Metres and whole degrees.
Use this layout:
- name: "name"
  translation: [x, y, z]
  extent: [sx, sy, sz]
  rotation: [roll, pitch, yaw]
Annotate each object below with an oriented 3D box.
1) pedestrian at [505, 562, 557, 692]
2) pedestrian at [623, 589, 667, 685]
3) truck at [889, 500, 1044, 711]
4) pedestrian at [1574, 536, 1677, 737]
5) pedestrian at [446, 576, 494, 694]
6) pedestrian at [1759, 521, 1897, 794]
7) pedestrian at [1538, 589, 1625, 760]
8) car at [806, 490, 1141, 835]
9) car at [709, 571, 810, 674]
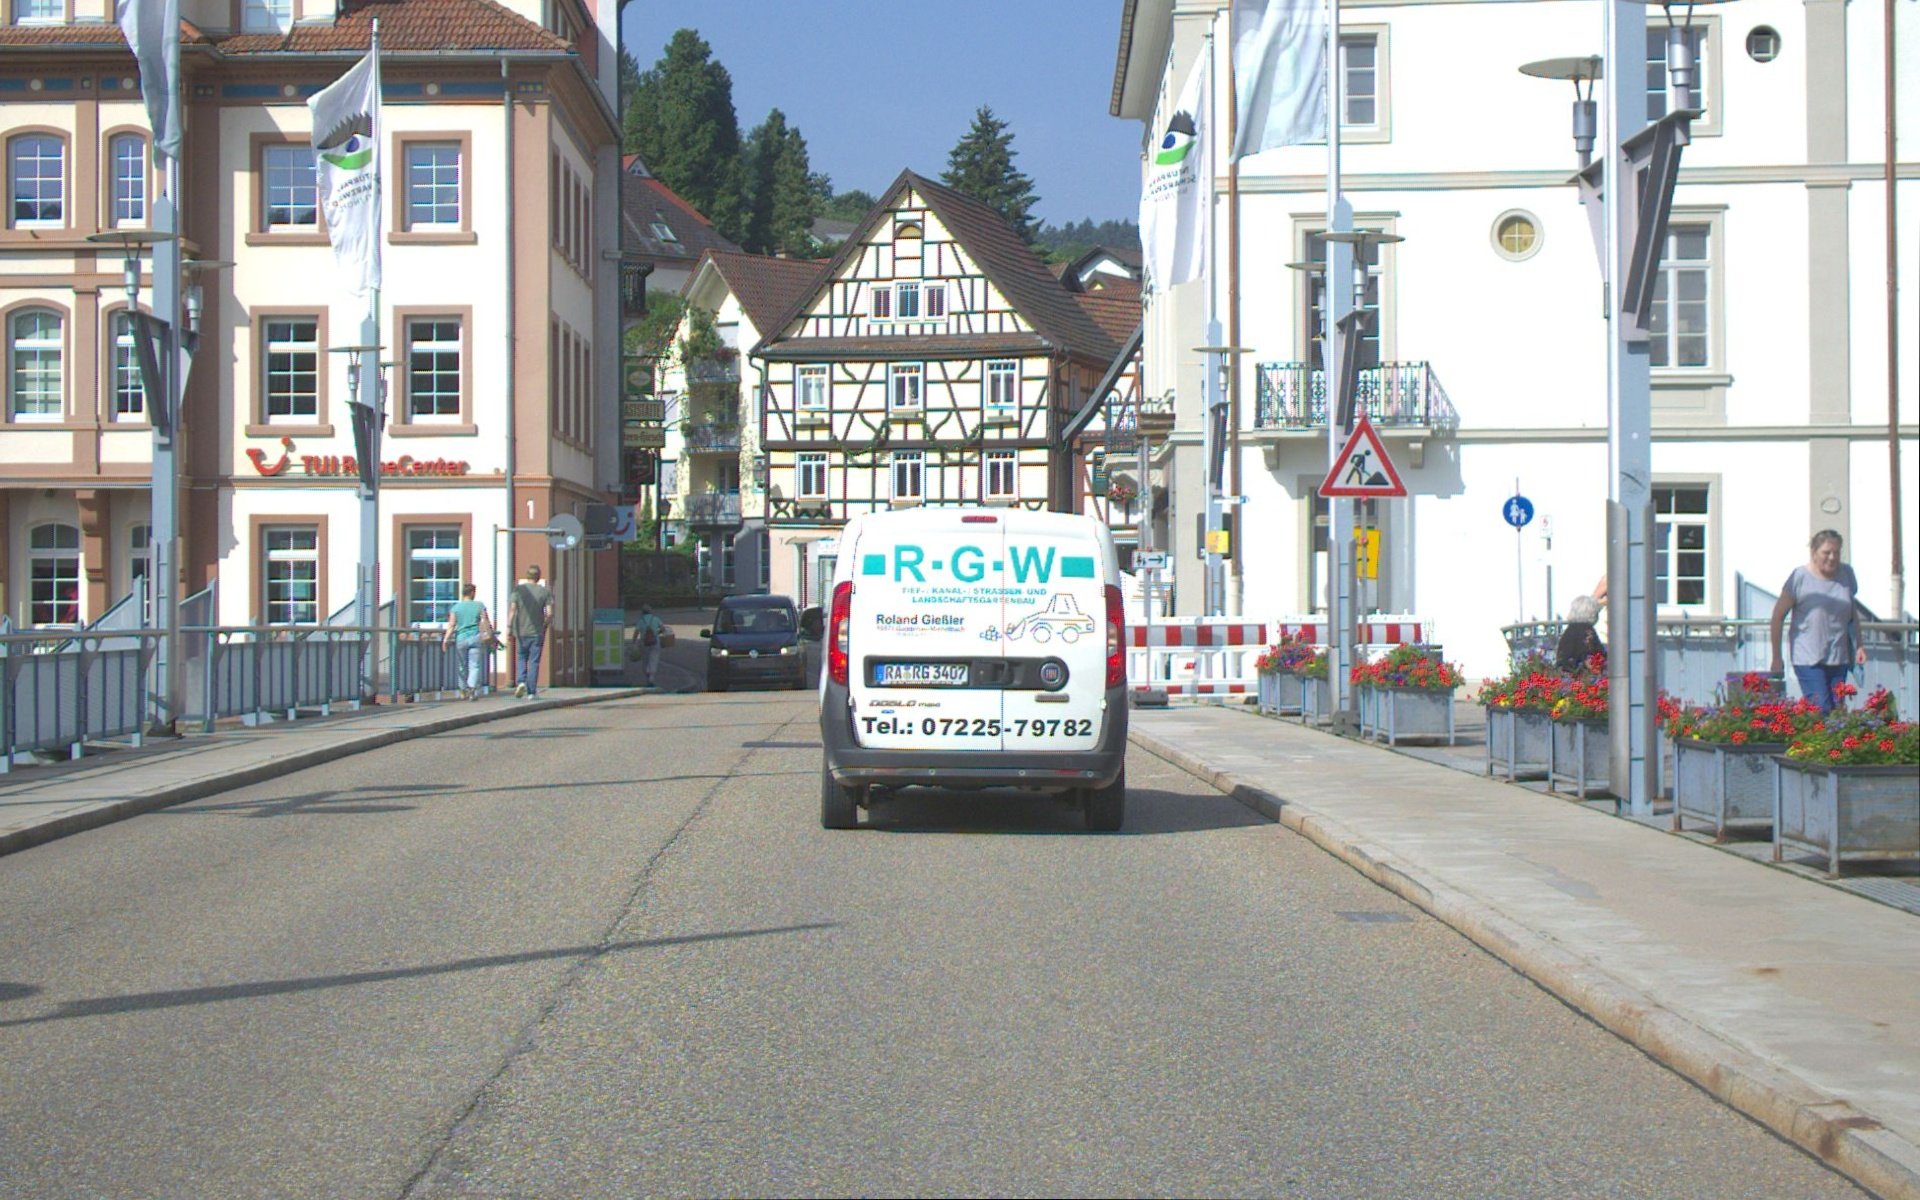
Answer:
- name: "pedestrian"
  translation: [-5.858, 0.357, 46.993]
  extent: [0.614, 1.756, 0.864]
  rotation: [1, 1, -2]
- name: "pedestrian"
  translation: [-6.111, 0.713, 66.617]
  extent: [0.803, 1.851, 0.616]
  rotation: [-1, 1, -8]
- name: "truck"
  translation: [0.039, 0.065, 44.218]
  extent: [1.861, 2.576, 4.260]
  rotation: [0, 0, -1]
- name: "pedestrian"
  translation: [5.764, 0.309, 29.805]
  extent: [0.726, 1.717, 0.747]
  rotation: [0, 1, -1]
- name: "pedestrian"
  translation: [-6.704, 0.473, 47.078]
  extent: [0.583, 1.604, 0.537]
  rotation: [1, 1, -2]
- name: "pedestrian"
  translation: [5.203, 0.336, 20.632]
  extent: [0.666, 1.613, 0.563]
  rotation: [0, 1, -1]
- name: "pedestrian"
  translation: [4.579, 0.544, 25.360]
  extent: [0.451, 1.240, 0.626]
  rotation: [-1, 0, -6]
- name: "car"
  translation: [0.002, 0.347, 21.175]
  extent: [1.844, 1.900, 4.315]
  rotation: [0, 0, -2]
- name: "car"
  translation: [-3.682, 0.385, 63.733]
  extent: [1.776, 1.786, 4.697]
  rotation: [1, 1, -2]
